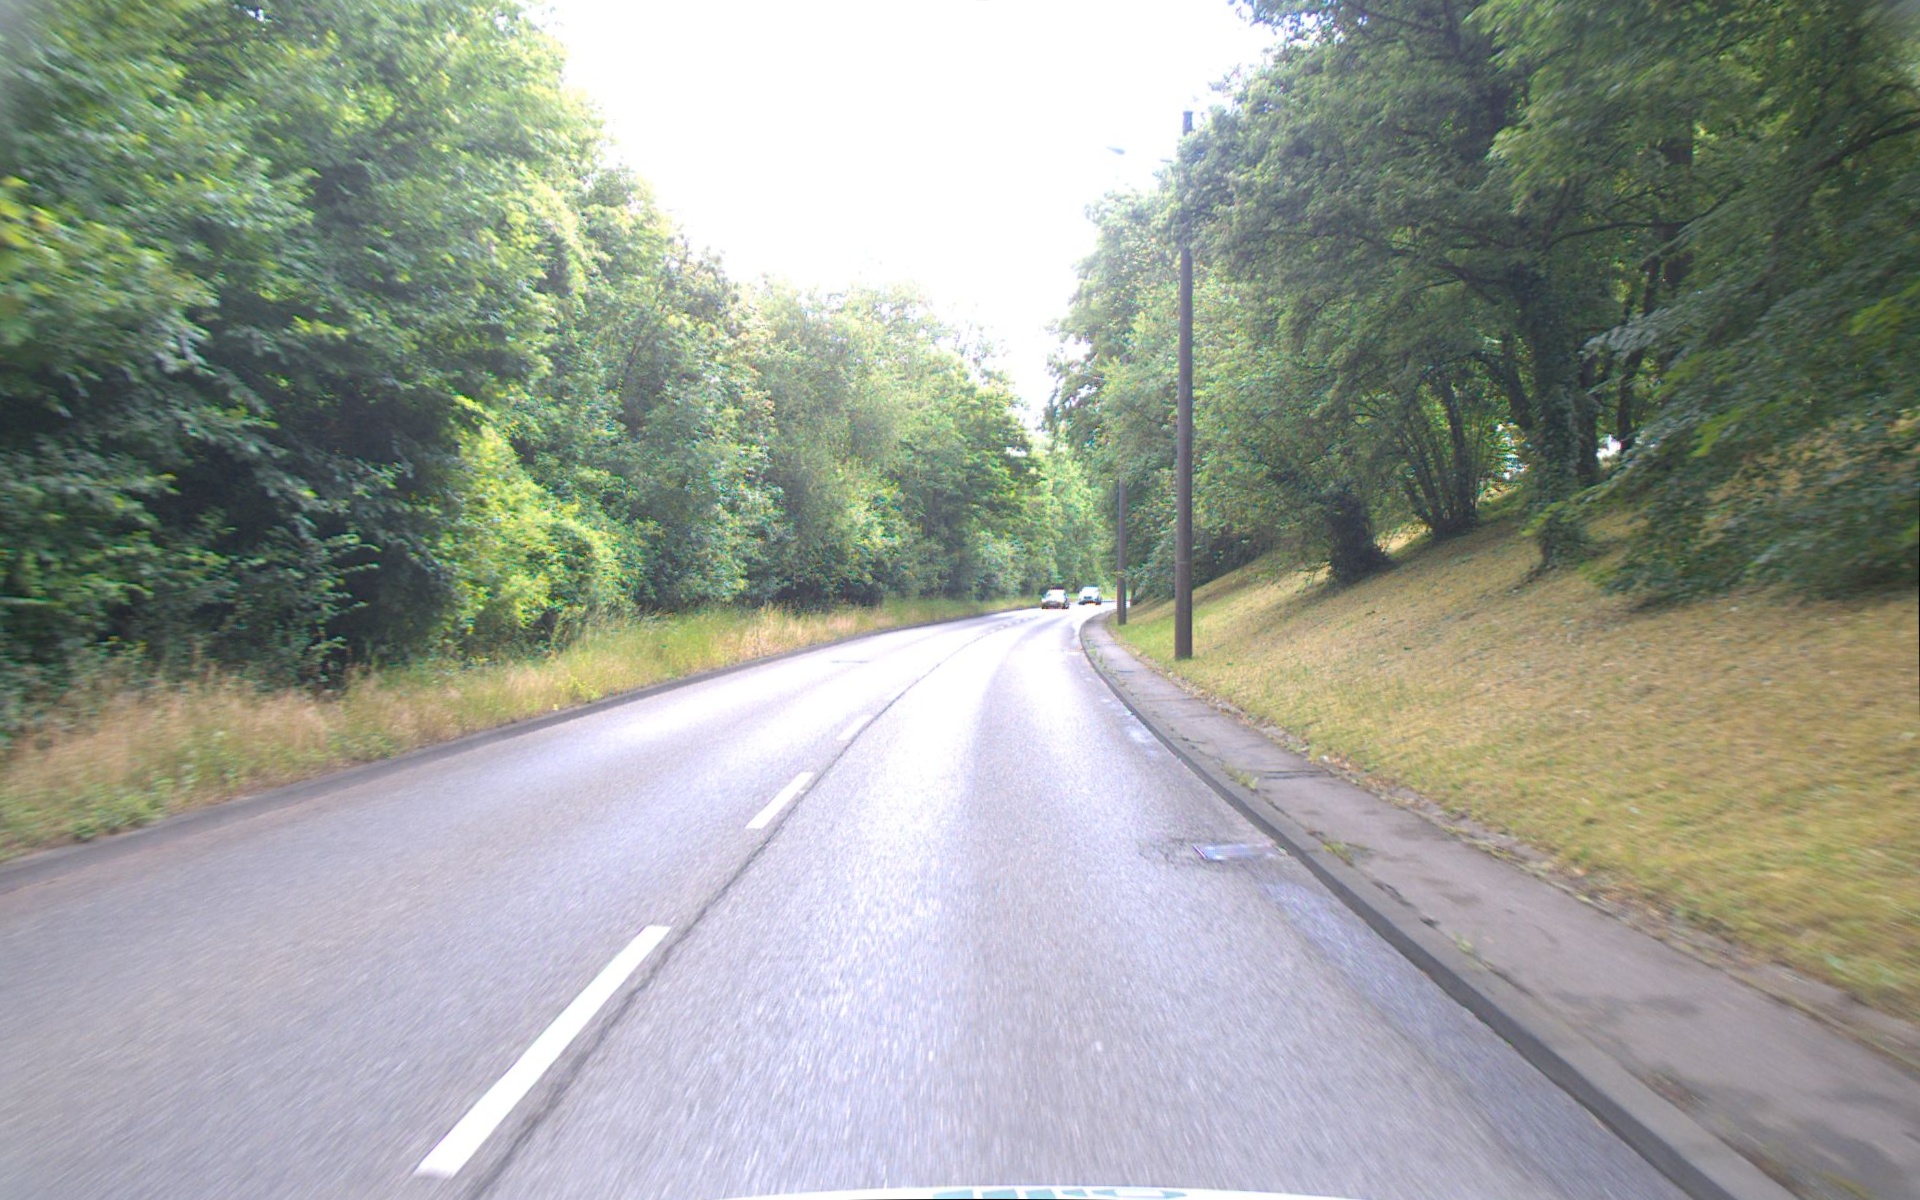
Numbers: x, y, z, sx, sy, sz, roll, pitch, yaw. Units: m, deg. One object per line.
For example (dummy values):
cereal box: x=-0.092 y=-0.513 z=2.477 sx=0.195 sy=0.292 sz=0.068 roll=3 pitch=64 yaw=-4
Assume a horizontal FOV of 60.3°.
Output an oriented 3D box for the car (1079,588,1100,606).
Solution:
car: x=12.320 y=-0.294 z=157.696 sx=1.901 sy=1.609 sz=4.442 roll=0 pitch=0 yaw=3

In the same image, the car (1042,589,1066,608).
car: x=7.237 y=-0.132 z=127.523 sx=1.772 sy=1.445 sz=4.002 roll=0 pitch=0 yaw=3
